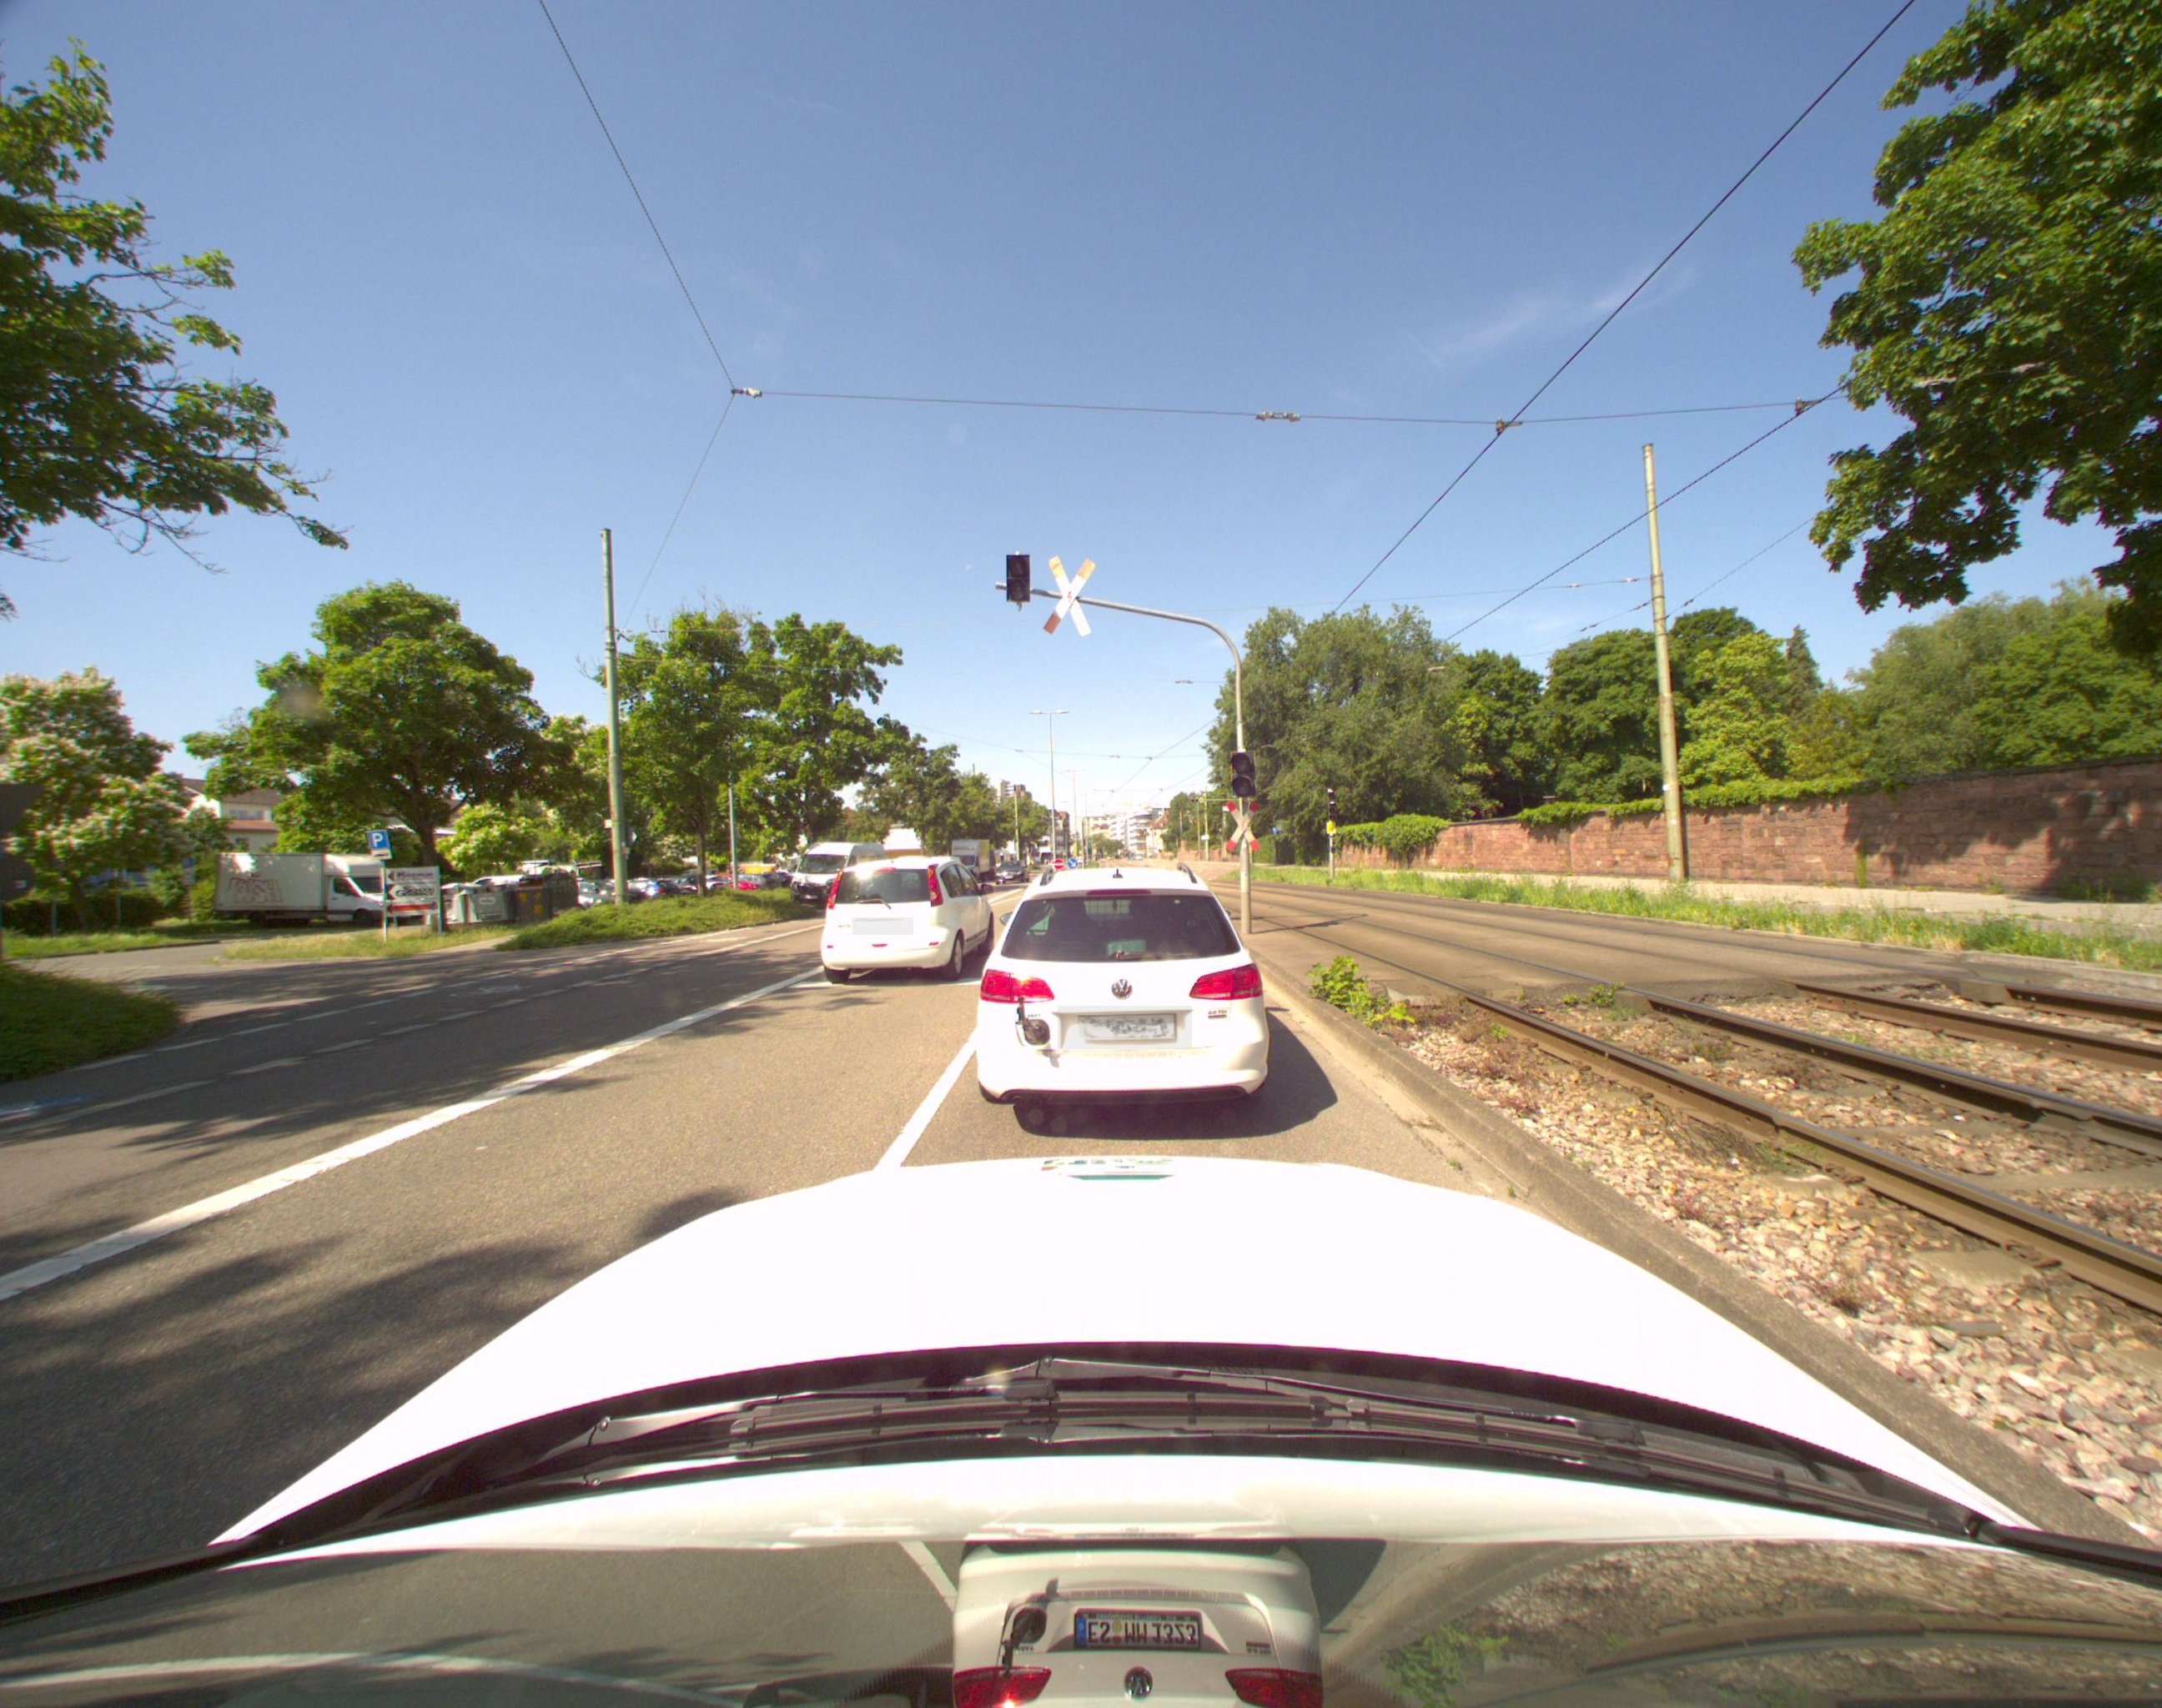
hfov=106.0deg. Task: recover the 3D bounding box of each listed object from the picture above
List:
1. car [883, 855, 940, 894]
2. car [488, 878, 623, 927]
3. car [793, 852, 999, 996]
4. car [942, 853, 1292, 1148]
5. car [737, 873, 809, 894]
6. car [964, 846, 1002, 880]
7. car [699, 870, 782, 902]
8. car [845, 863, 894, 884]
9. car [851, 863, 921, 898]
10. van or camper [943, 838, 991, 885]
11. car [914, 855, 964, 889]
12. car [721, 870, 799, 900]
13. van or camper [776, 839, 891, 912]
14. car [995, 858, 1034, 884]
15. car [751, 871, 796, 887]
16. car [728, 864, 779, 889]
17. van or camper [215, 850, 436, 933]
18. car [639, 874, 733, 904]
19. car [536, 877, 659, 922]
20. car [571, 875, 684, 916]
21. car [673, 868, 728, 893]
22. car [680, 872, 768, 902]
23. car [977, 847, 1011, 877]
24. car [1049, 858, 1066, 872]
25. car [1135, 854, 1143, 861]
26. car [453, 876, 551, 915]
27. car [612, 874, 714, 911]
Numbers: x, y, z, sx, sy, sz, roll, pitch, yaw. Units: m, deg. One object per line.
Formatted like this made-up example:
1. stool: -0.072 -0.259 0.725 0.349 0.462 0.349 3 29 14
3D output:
1. car: -9.310 1.071 45.166 2.190 1.940 5.180 -3 0 -2
2. car: -19.947 1.822 31.047 3.974 1.544 1.663 -3 -1 0
3. car: -2.290 0.791 11.178 1.723 1.596 4.013 -1 0 2
4. car: 0.264 0.740 6.060 1.771 1.490 3.849 0 0 2
5. car: -19.677 1.876 52.091 3.874 1.153 1.664 -3 -1 1
6. car: -8.182 0.713 68.379 2.187 2.668 6.083 -1 0 2
7. car: -19.638 1.834 47.041 3.973 1.544 1.664 -3 0 1
8. car: -19.341 1.755 74.666 3.974 1.694 1.663 -3 -1 -1
9. car: -9.185 1.210 38.813 1.925 1.454 4.887 -3 0 2
10. van or camper: -8.353 0.529 60.449 2.186 3.241 6.777 -1 0 3
11. car: -9.026 1.092 52.166 2.189 1.940 5.184 -3 0 0
12. car: -19.584 1.877 49.768 3.973 1.544 1.664 -3 -1 1
13. van or camper: -9.644 0.773 32.381 2.248 2.514 6.152 -3 0 3
14. car: -4.122 1.024 51.023 1.777 1.409 4.309 -2 1 4
15. car: -31.127 2.508 82.492 3.834 1.424 1.532 -3 0 -1
16. car: -31.154 2.128 77.634 3.976 2.200 1.909 -2 0 -2
17. van or camper: -32.407 1.560 35.119 6.928 3.244 2.581 -2 0 -1
18. car: -20.223 1.790 41.784 3.902 1.271 1.664 -3 -1 1
19. car: -19.843 1.847 33.509 3.974 1.544 1.663 -3 -1 0
20. car: -20.042 1.829 36.109 3.974 1.544 1.663 -3 -1 0
21. car: -33.949 2.341 72.758 3.976 2.003 1.909 -2 0 -2
22. car: -19.507 1.790 44.548 3.973 1.409 1.733 -3 0 1
23. car: -7.951 0.716 75.095 2.187 2.630 5.982 -1 0 2
24. car: -2.718 1.248 94.978 1.721 1.465 4.002 -3 0 2
25. car: 17.549 0.939 247.552 2.118 2.013 5.285 -3 0 2
26. car: -31.778 2.255 44.788 3.976 1.891 1.784 -2 0 -2
27. car: -20.208 1.836 39.448 3.973 1.544 1.664 -3 -1 1
